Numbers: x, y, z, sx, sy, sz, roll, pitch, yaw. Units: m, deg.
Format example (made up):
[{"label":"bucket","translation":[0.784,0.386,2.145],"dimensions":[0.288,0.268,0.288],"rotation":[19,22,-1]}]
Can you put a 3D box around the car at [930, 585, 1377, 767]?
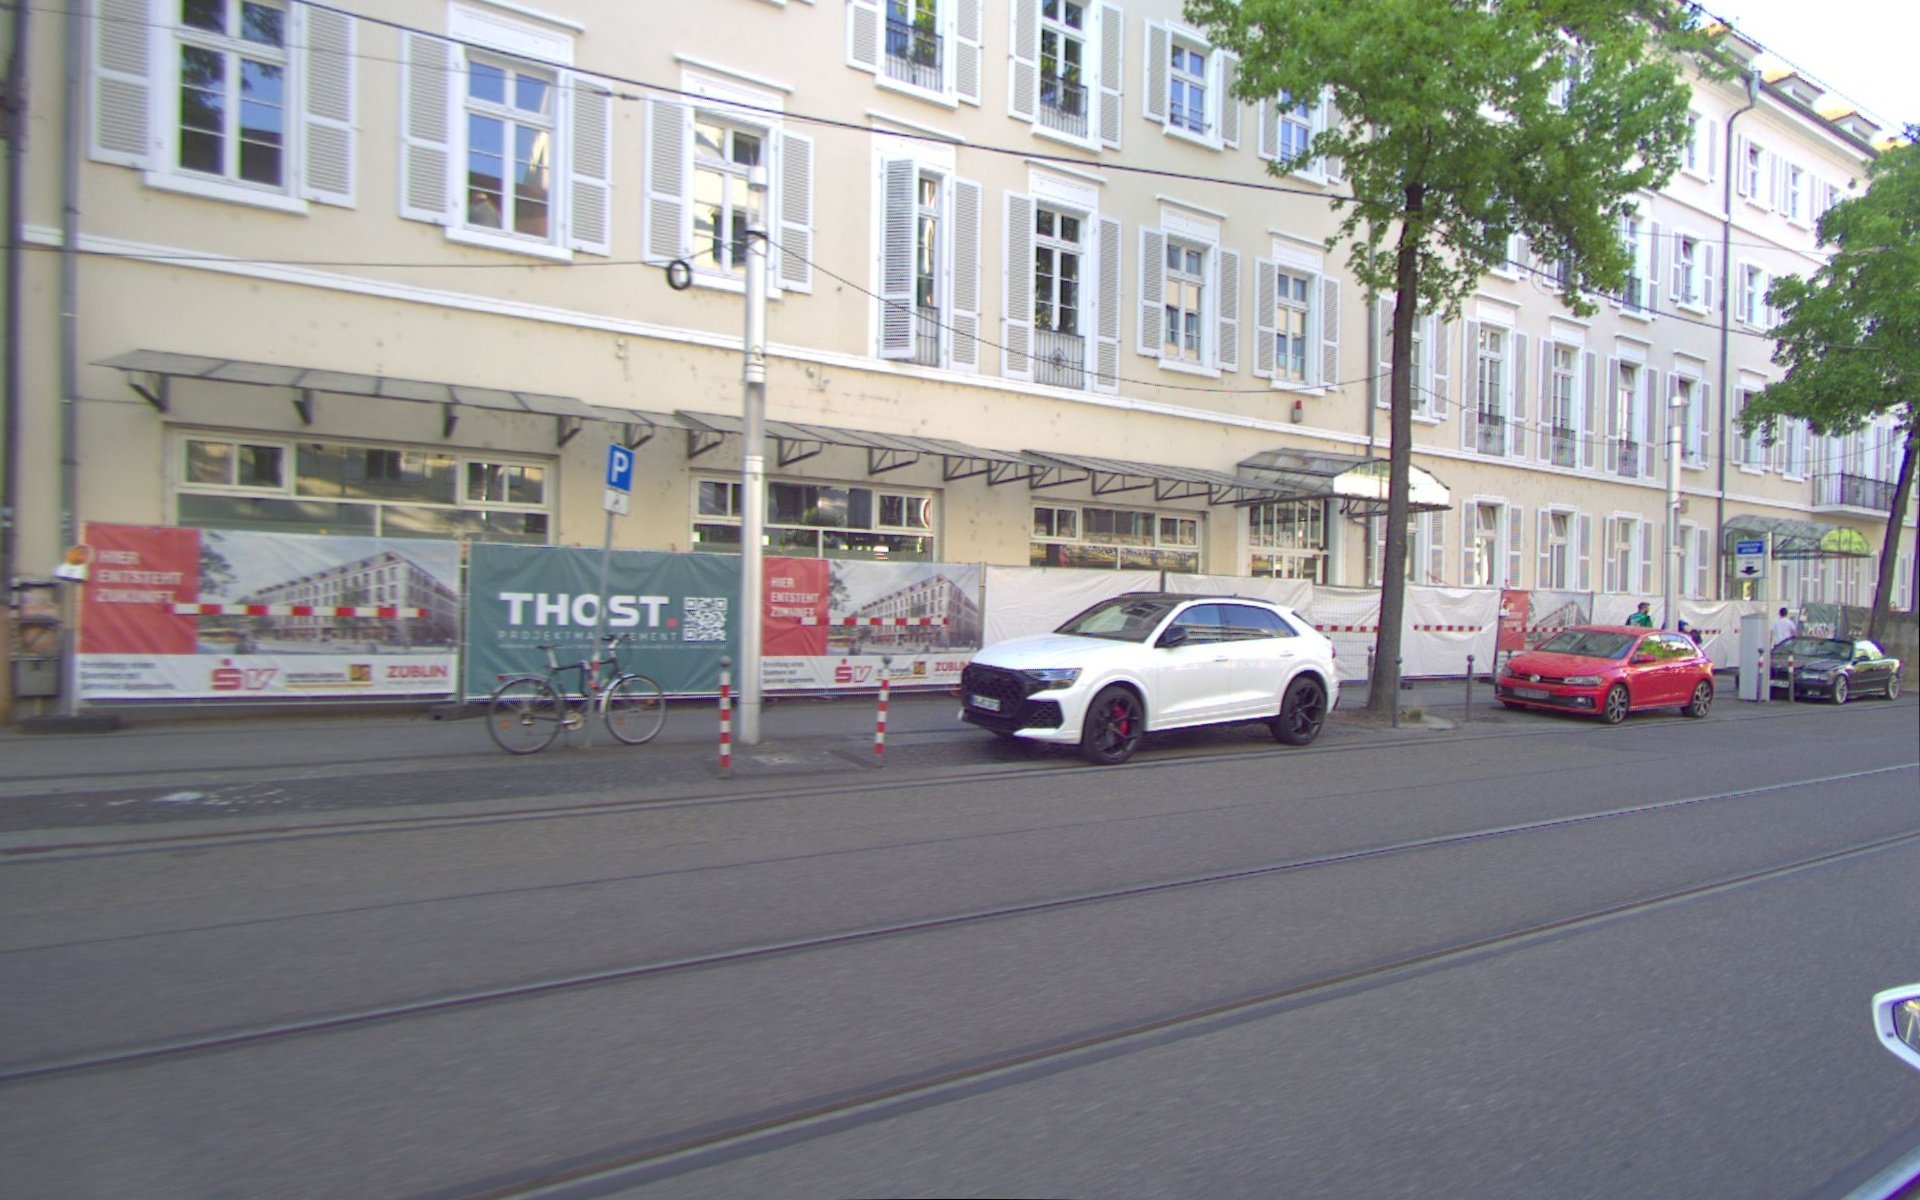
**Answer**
[{"label":"car","translation":[2.301,0.764,11.550],"dimensions":[4.952,1.714,1.953],"rotation":[1,0,-29]}]

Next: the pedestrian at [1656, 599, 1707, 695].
[{"label":"pedestrian","translation":[15.694,1.007,21.849],"dimensions":[0.668,2.031,0.703],"rotation":[1,0,-33]}]

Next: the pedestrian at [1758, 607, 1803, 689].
[{"label":"pedestrian","translation":[20.709,1.199,25.344],"dimensions":[0.668,2.031,0.703],"rotation":[1,0,-33]}]

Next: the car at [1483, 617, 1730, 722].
[{"label":"car","translation":[10.757,1.099,16.659],"dimensions":[4.182,1.519,1.681],"rotation":[1,0,-29]}]

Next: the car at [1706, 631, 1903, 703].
[{"label":"car","translation":[17.842,1.356,21.199],"dimensions":[3.953,1.309,1.984],"rotation":[1,0,-30]}]

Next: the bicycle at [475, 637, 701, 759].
[{"label":"bicycle","translation":[-3.595,0.911,9.824],"dimensions":[1.990,1.064,0.589],"rotation":[1,0,-37]}]

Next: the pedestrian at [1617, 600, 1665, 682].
[{"label":"pedestrian","translation":[15.435,0.911,22.771],"dimensions":[0.669,1.830,0.703],"rotation":[1,0,-35]}]
